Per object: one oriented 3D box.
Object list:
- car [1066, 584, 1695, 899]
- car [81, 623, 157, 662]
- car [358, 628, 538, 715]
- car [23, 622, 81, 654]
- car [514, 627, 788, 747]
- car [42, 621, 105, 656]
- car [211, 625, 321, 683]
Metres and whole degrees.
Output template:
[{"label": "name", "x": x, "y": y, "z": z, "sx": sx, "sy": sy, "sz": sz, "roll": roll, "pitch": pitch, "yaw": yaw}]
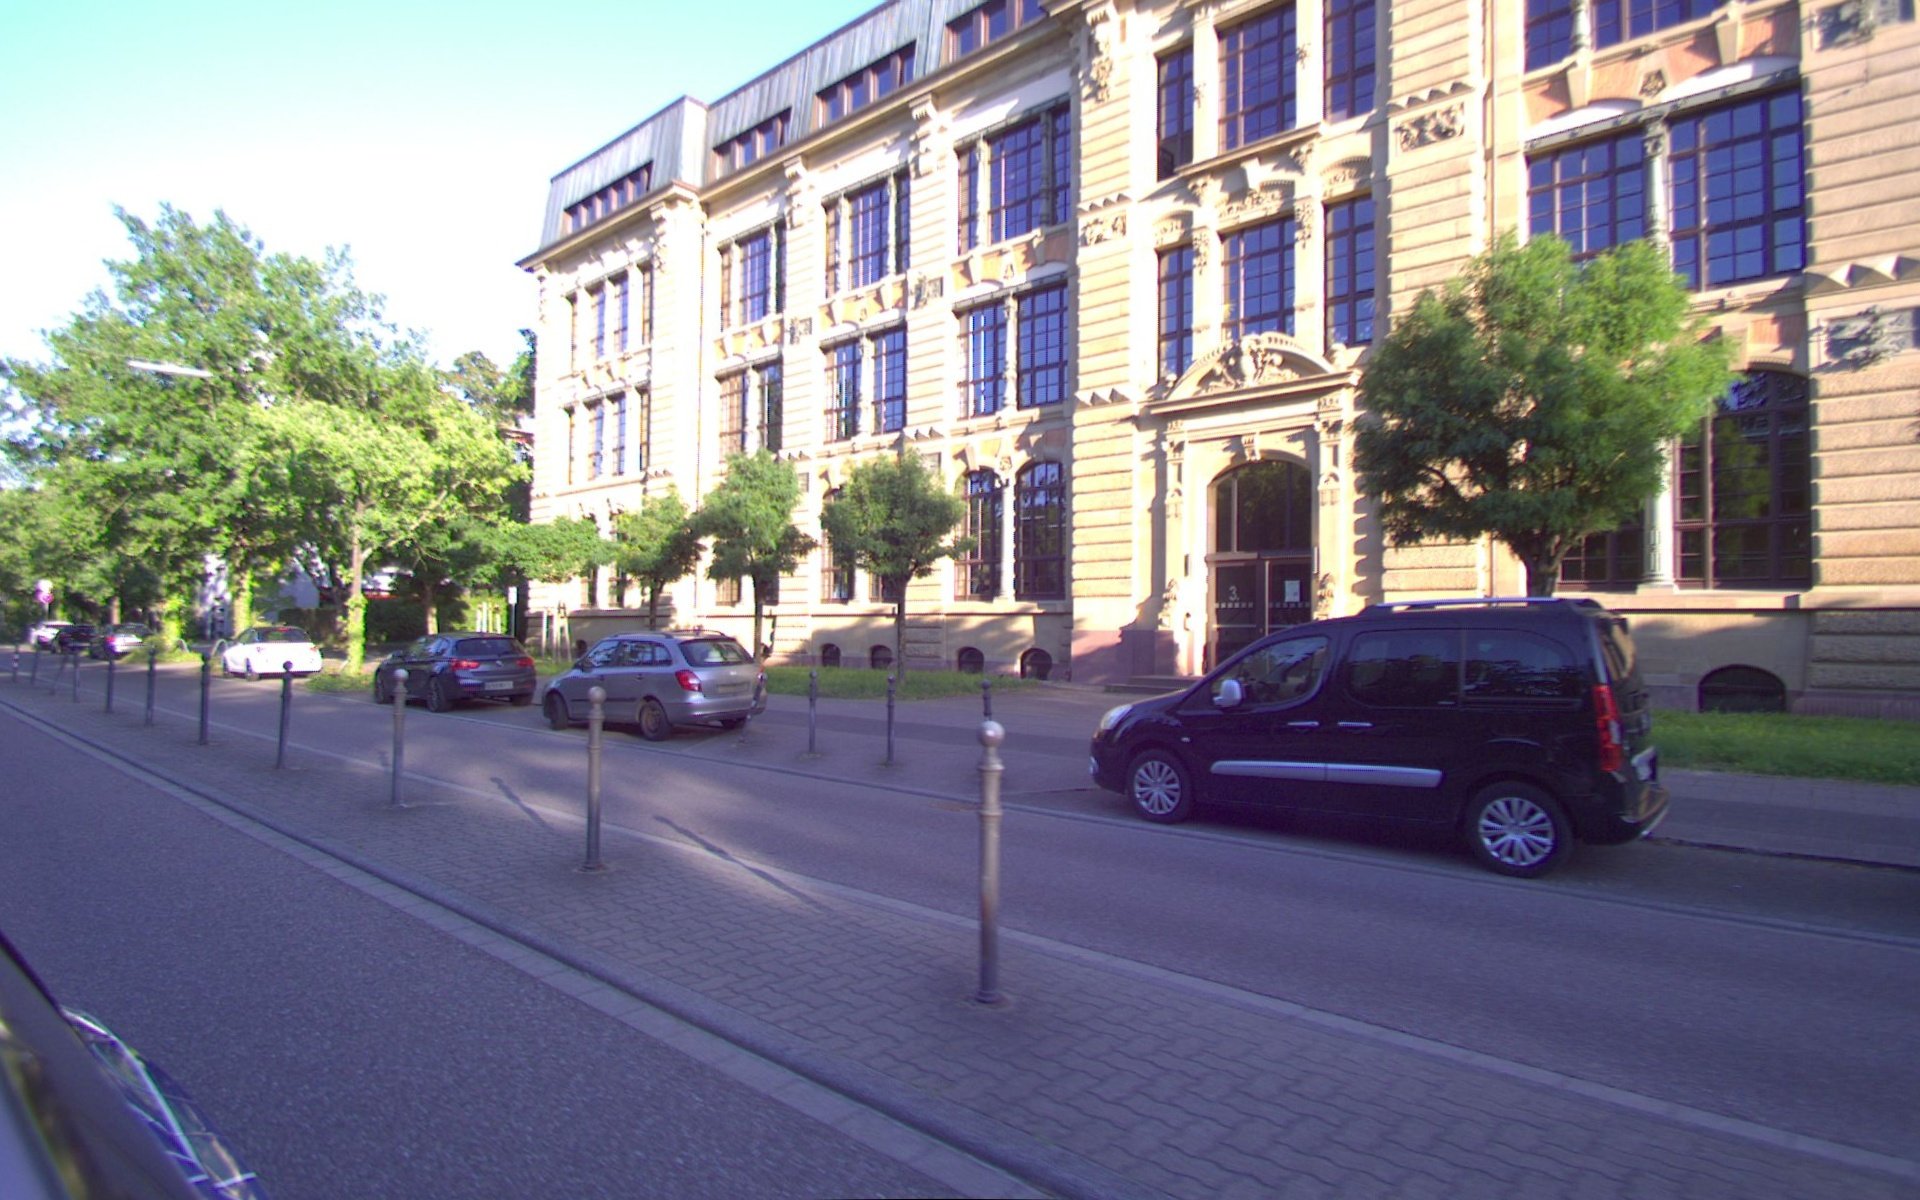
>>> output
[{"label": "car", "x": 3.140, "y": 0.877, "z": 8.153, "sx": 4.331, "sy": 1.880, "sz": 1.759, "roll": -1, "pitch": -1, "yaw": 42}, {"label": "car", "x": -34.992, "y": 1.734, "z": 42.051, "sx": 4.862, "sy": 1.522, "sz": 1.783, "roll": -1, "pitch": -2, "yaw": 43}, {"label": "car", "x": -10.077, "y": 1.310, "z": 19.779, "sx": 4.375, "sy": 1.507, "sz": 1.601, "roll": -1, "pitch": -2, "yaw": 41}, {"label": "car", "x": -49.000, "y": 2.039, "z": 54.598, "sx": 4.145, "sy": 1.628, "sz": 1.784, "roll": -1, "pitch": -3, "yaw": 41}, {"label": "car", "x": -4.770, "y": 1.200, "z": 15.354, "sx": 4.368, "sy": 1.507, "sz": 1.703, "roll": -1, "pitch": 0, "yaw": 36}, {"label": "car", "x": -43.022, "y": 1.819, "z": 49.077, "sx": 4.145, "sy": 1.628, "sz": 1.761, "roll": -1, "pitch": -2, "yaw": 41}, {"label": "car", "x": -19.530, "y": 1.458, "z": 28.427, "sx": 3.922, "sy": 1.507, "sz": 1.601, "roll": -1, "pitch": -2, "yaw": 41}]
